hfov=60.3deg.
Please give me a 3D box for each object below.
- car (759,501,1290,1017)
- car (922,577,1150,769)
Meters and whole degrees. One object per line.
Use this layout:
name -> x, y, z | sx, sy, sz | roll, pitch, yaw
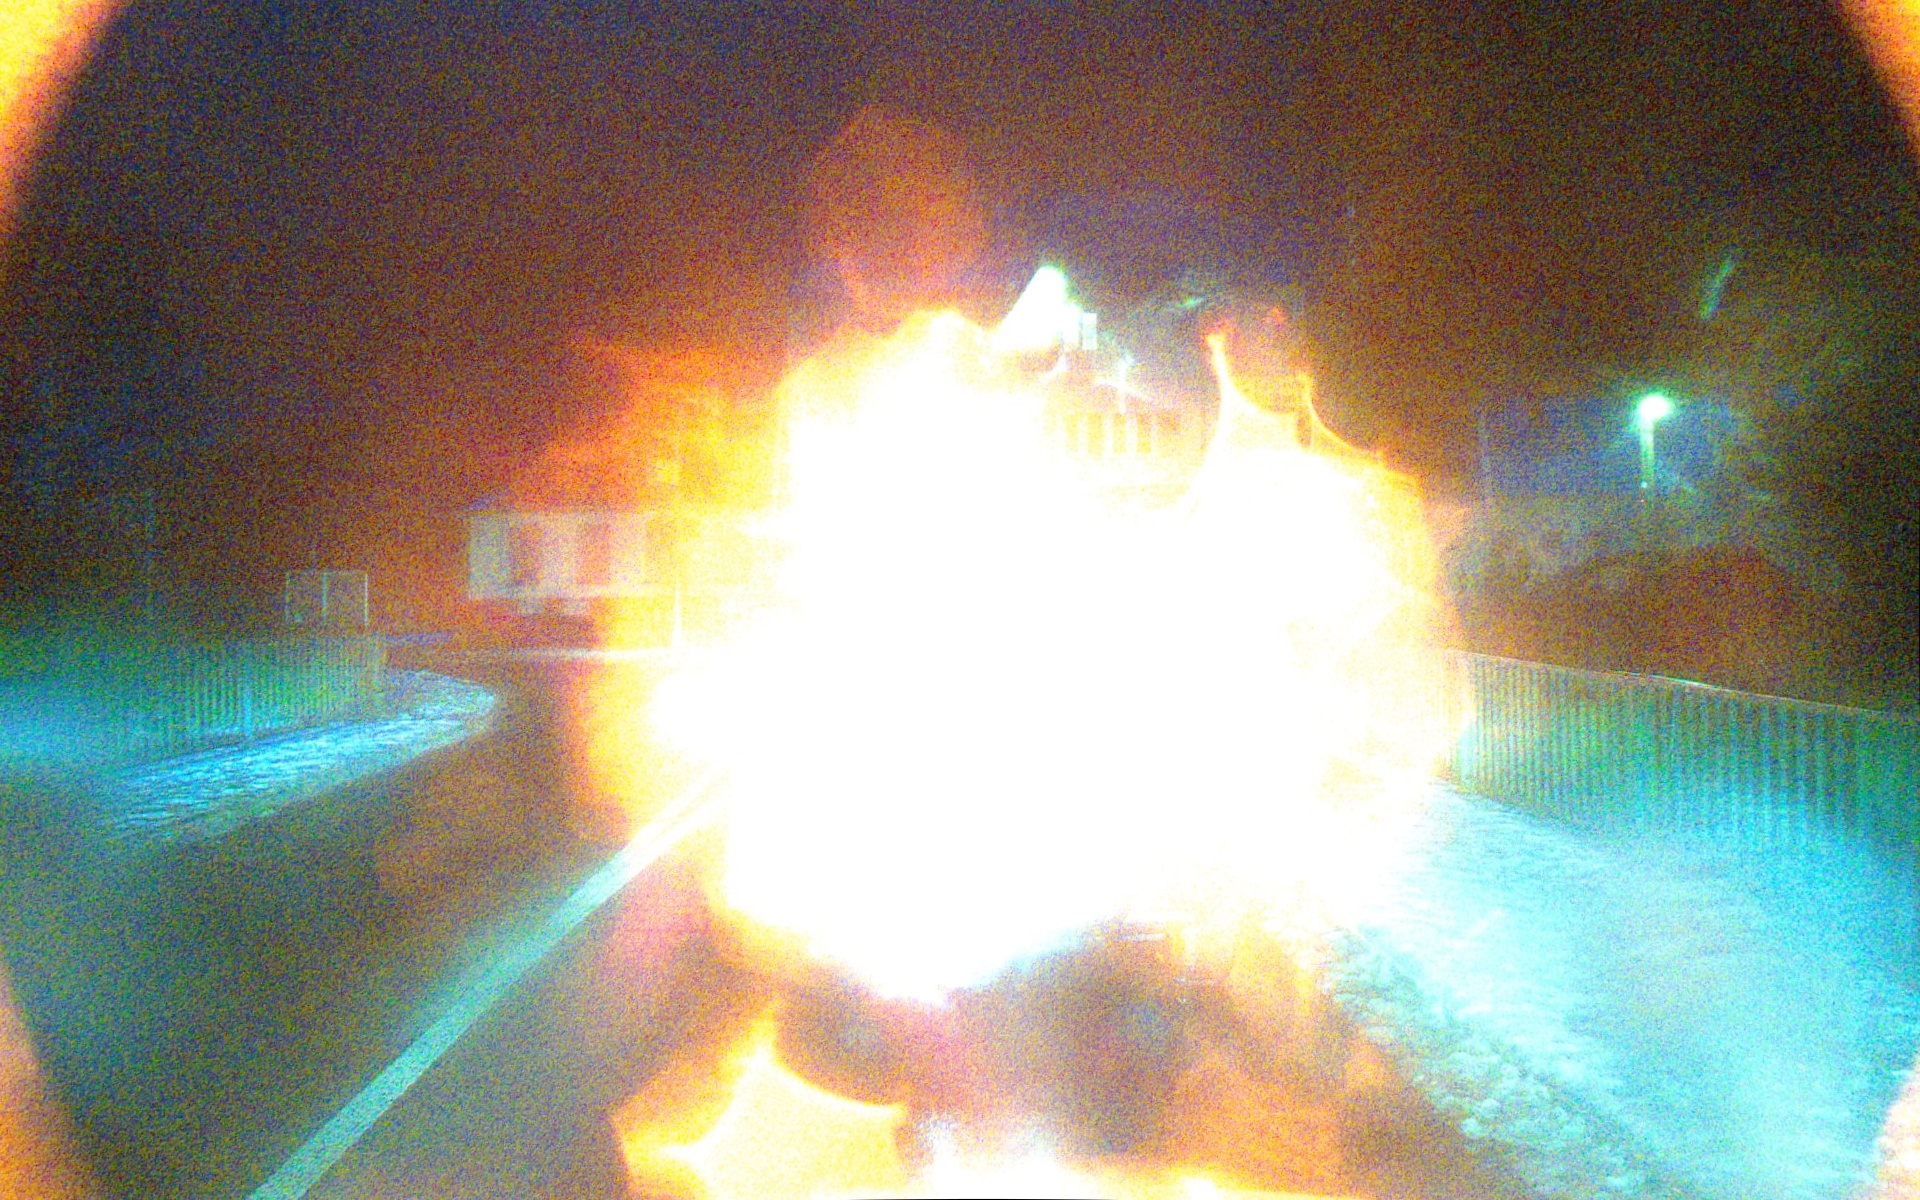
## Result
car -> 0.230, 0.492, 7.434 | 1.754, 1.710, 3.905 | 0, 1, 0
car -> 0.662, 0.530, 14.487 | 1.707, 1.440, 4.002 | -1, 1, 3
